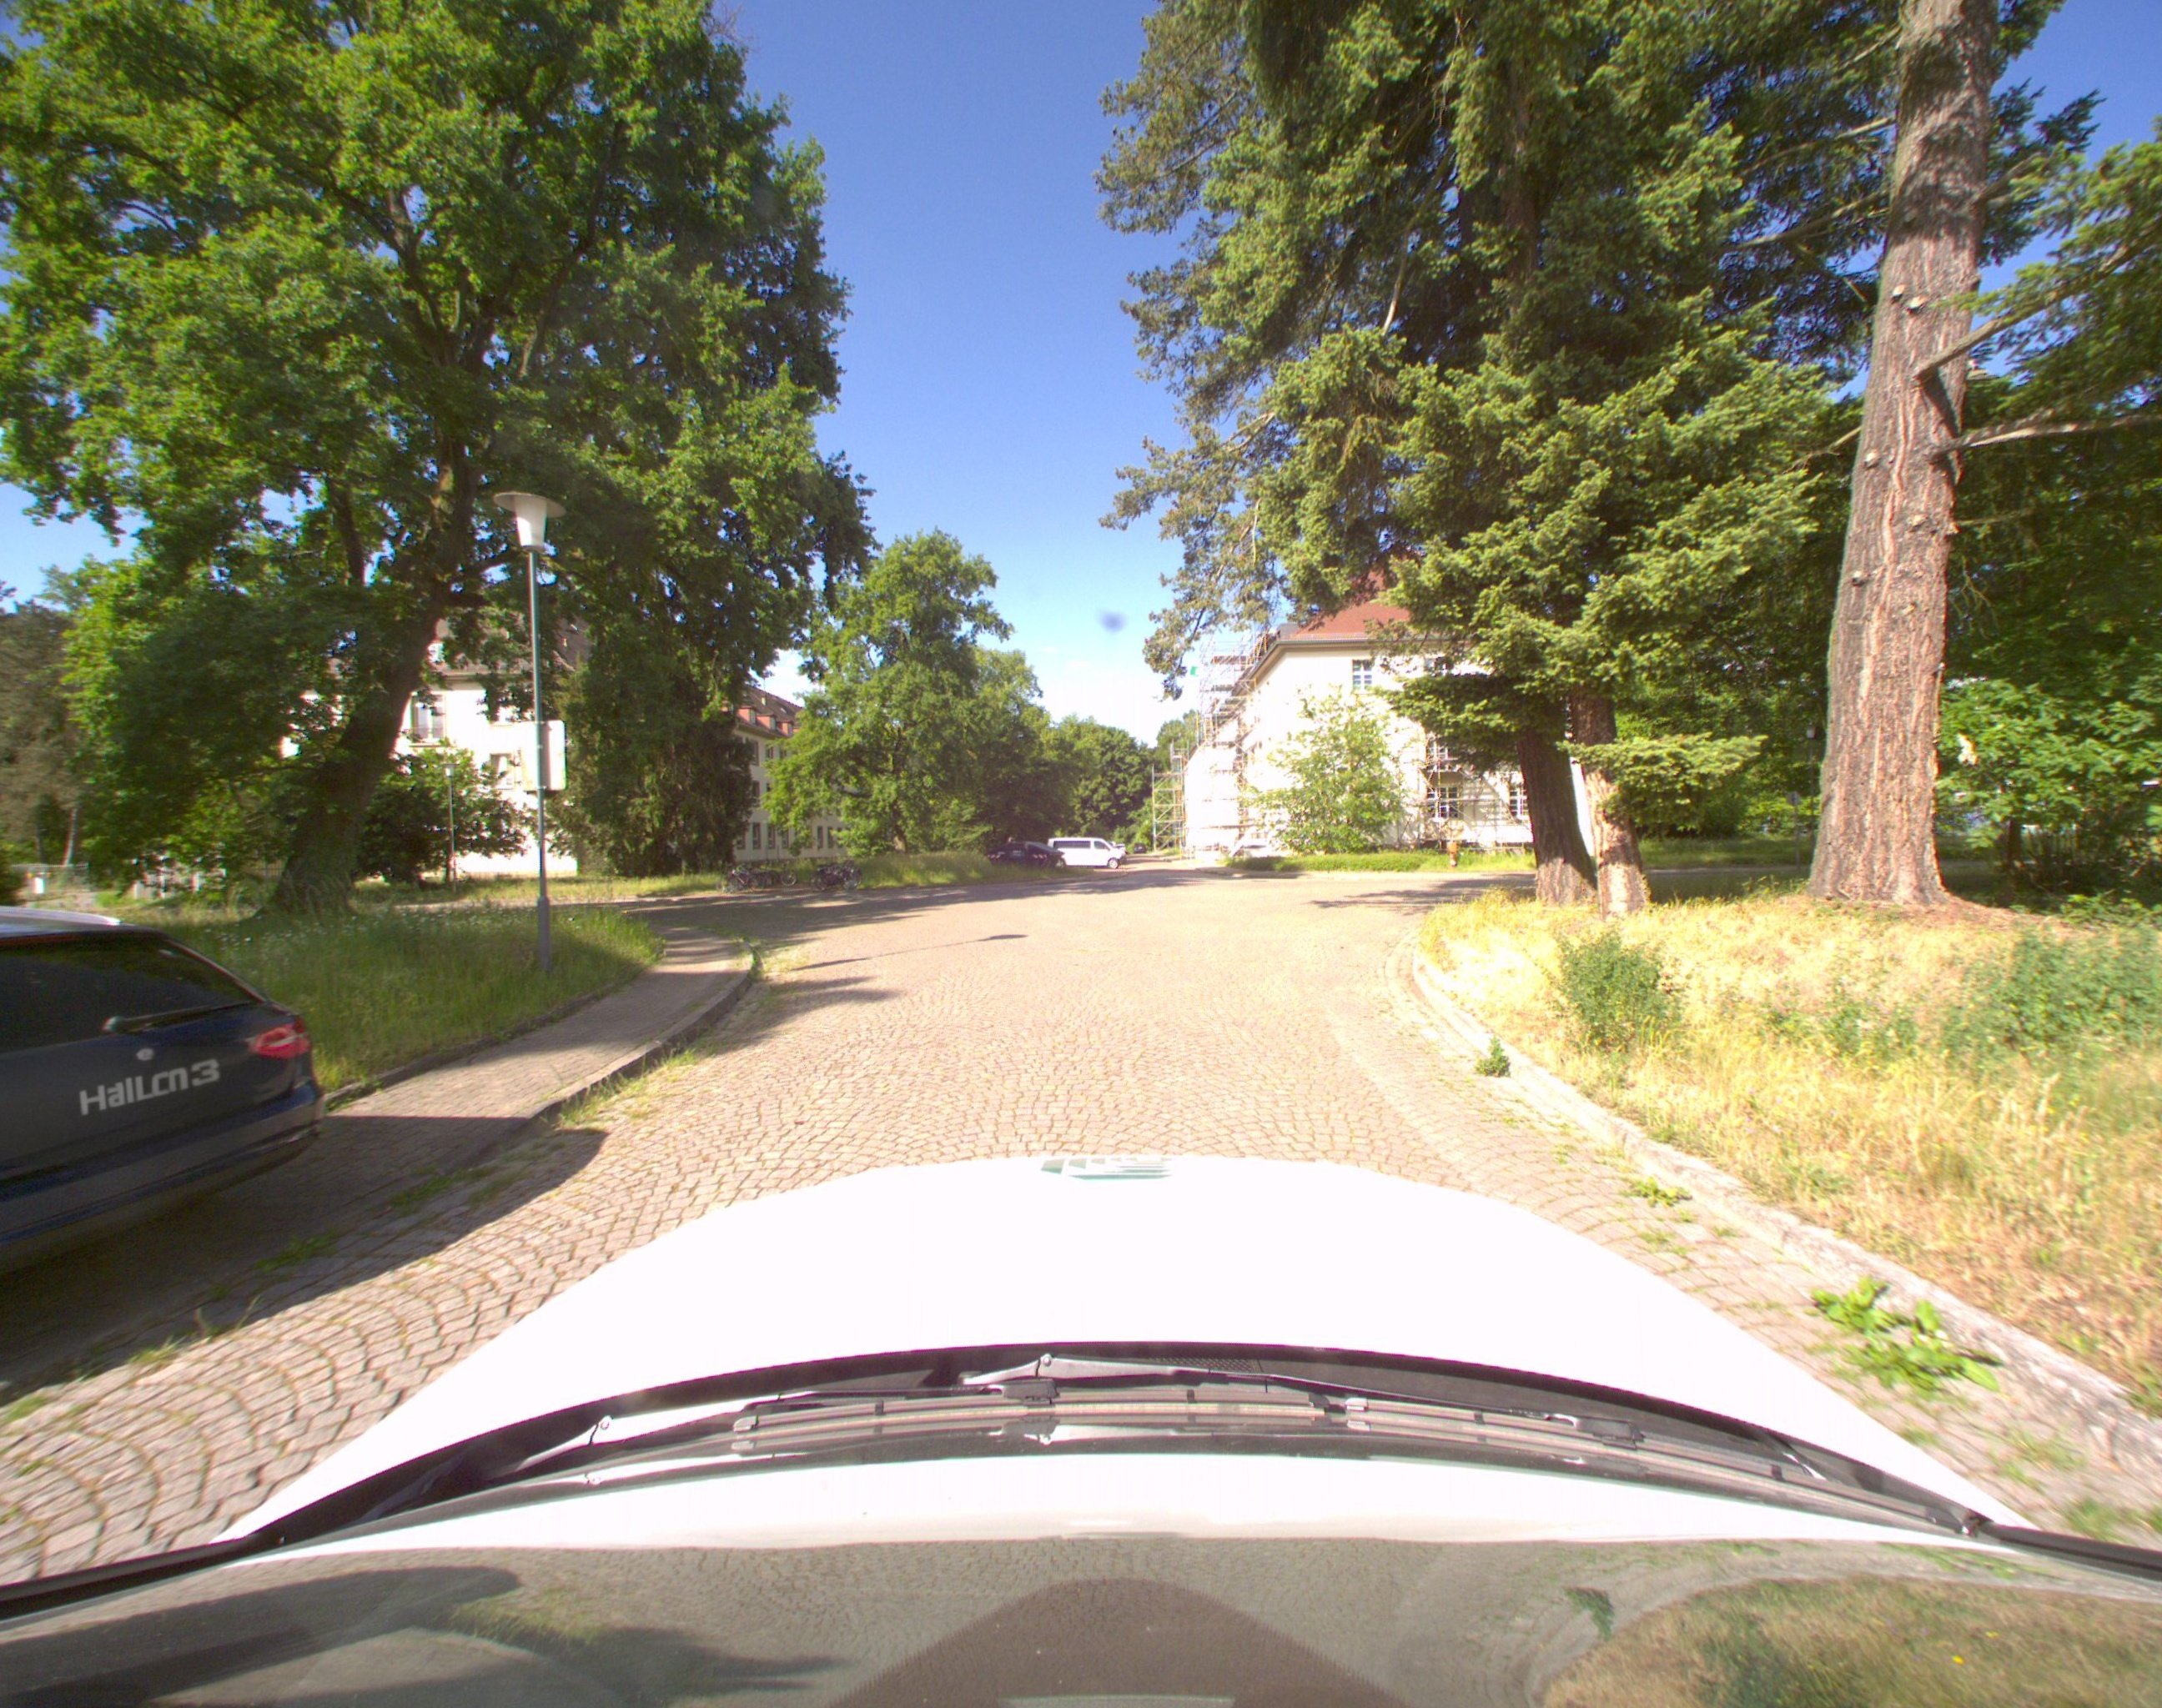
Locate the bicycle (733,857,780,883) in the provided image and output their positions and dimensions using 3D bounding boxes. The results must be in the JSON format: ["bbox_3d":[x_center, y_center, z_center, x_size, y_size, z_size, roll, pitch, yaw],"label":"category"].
[{"bbox_3d":[-14.828,0.733,37.235,1.917,1.102,0.567,-2,2,-17],"label":"bicycle"}]

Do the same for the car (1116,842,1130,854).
[{"bbox_3d":[6.081,-0.853,117.831,1.805,1.579,4.137,-2,1,2],"label":"car"}]

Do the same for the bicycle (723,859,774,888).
[{"bbox_3d":[-13.996,0.815,34.307,1.923,1.102,0.565,-2,2,-26],"label":"bicycle"}]

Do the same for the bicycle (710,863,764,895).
[{"bbox_3d":[-13.553,0.982,32.138,1.921,1.102,0.566,-3,2,-22],"label":"bicycle"}]

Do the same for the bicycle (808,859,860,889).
[{"bbox_3d":[-10.114,0.807,33.360,1.920,1.058,0.472,-4,1,-21],"label":"bicycle"}]

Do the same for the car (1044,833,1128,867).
[{"bbox_3d":[0.361,-0.271,51.929,5.215,2.016,1.951,-1,0,1],"label":"car"}]

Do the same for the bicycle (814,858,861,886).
[{"bbox_3d":[-10.618,0.787,35.543,1.919,1.058,0.473,-4,1,-19],"label":"bicycle"}]

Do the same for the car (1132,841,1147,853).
[{"bbox_3d":[8.485,-0.992,118.054,1.963,1.668,4.088,-2,1,2],"label":"car"}]

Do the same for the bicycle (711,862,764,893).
[{"bbox_3d":[-13.747,0.930,32.639,1.921,1.102,0.566,-3,2,-22],"label":"bicycle"}]

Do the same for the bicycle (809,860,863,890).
[{"bbox_3d":[-9.720,0.827,32.355,1.924,1.058,0.472,-4,1,-27],"label":"bicycle"}]

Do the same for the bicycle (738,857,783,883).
[{"bbox_3d":[-14.995,0.730,38.186,1.920,1.102,0.566,-2,2,-22],"label":"bicycle"}]

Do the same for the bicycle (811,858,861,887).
[{"bbox_3d":[-10.202,0.741,33.925,1.920,1.058,0.472,-4,1,-21],"label":"bicycle"}]

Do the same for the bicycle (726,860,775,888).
[{"bbox_3d":[-14.466,0.870,35.625,1.923,1.102,0.565,-2,2,-26],"label":"bicycle"}]

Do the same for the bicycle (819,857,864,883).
[{"bbox_3d":[-10.976,0.722,37.321,1.919,1.058,0.473,-4,1,-19],"label":"bicycle"}]

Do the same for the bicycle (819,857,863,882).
[{"bbox_3d":[-11.280,0.723,38.236,1.919,1.058,0.473,-4,1,-19],"label":"bicycle"}]

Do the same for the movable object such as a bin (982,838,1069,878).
[{"bbox_3d":[-2.651,0.163,38.916,3.535,1.744,2.035,-2,0,21],"label":"movable object such as a bin"}]

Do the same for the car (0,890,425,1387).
[{"bbox_3d":[-5.475,0.955,3.186,4.339,1.444,1.924,-1,1,5],"label":"car"}]

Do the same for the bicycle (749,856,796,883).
[{"bbox_3d":[-13.885,0.700,36.688,1.917,1.102,0.567,-2,2,-17],"label":"bicycle"}]

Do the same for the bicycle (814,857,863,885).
[{"bbox_3d":[-10.352,0.703,34.720,1.920,1.058,0.472,-4,1,-21],"label":"bicycle"}]

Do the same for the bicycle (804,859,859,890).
[{"bbox_3d":[-9.732,0.800,31.798,1.924,1.058,0.472,-4,1,-27],"label":"bicycle"}]
